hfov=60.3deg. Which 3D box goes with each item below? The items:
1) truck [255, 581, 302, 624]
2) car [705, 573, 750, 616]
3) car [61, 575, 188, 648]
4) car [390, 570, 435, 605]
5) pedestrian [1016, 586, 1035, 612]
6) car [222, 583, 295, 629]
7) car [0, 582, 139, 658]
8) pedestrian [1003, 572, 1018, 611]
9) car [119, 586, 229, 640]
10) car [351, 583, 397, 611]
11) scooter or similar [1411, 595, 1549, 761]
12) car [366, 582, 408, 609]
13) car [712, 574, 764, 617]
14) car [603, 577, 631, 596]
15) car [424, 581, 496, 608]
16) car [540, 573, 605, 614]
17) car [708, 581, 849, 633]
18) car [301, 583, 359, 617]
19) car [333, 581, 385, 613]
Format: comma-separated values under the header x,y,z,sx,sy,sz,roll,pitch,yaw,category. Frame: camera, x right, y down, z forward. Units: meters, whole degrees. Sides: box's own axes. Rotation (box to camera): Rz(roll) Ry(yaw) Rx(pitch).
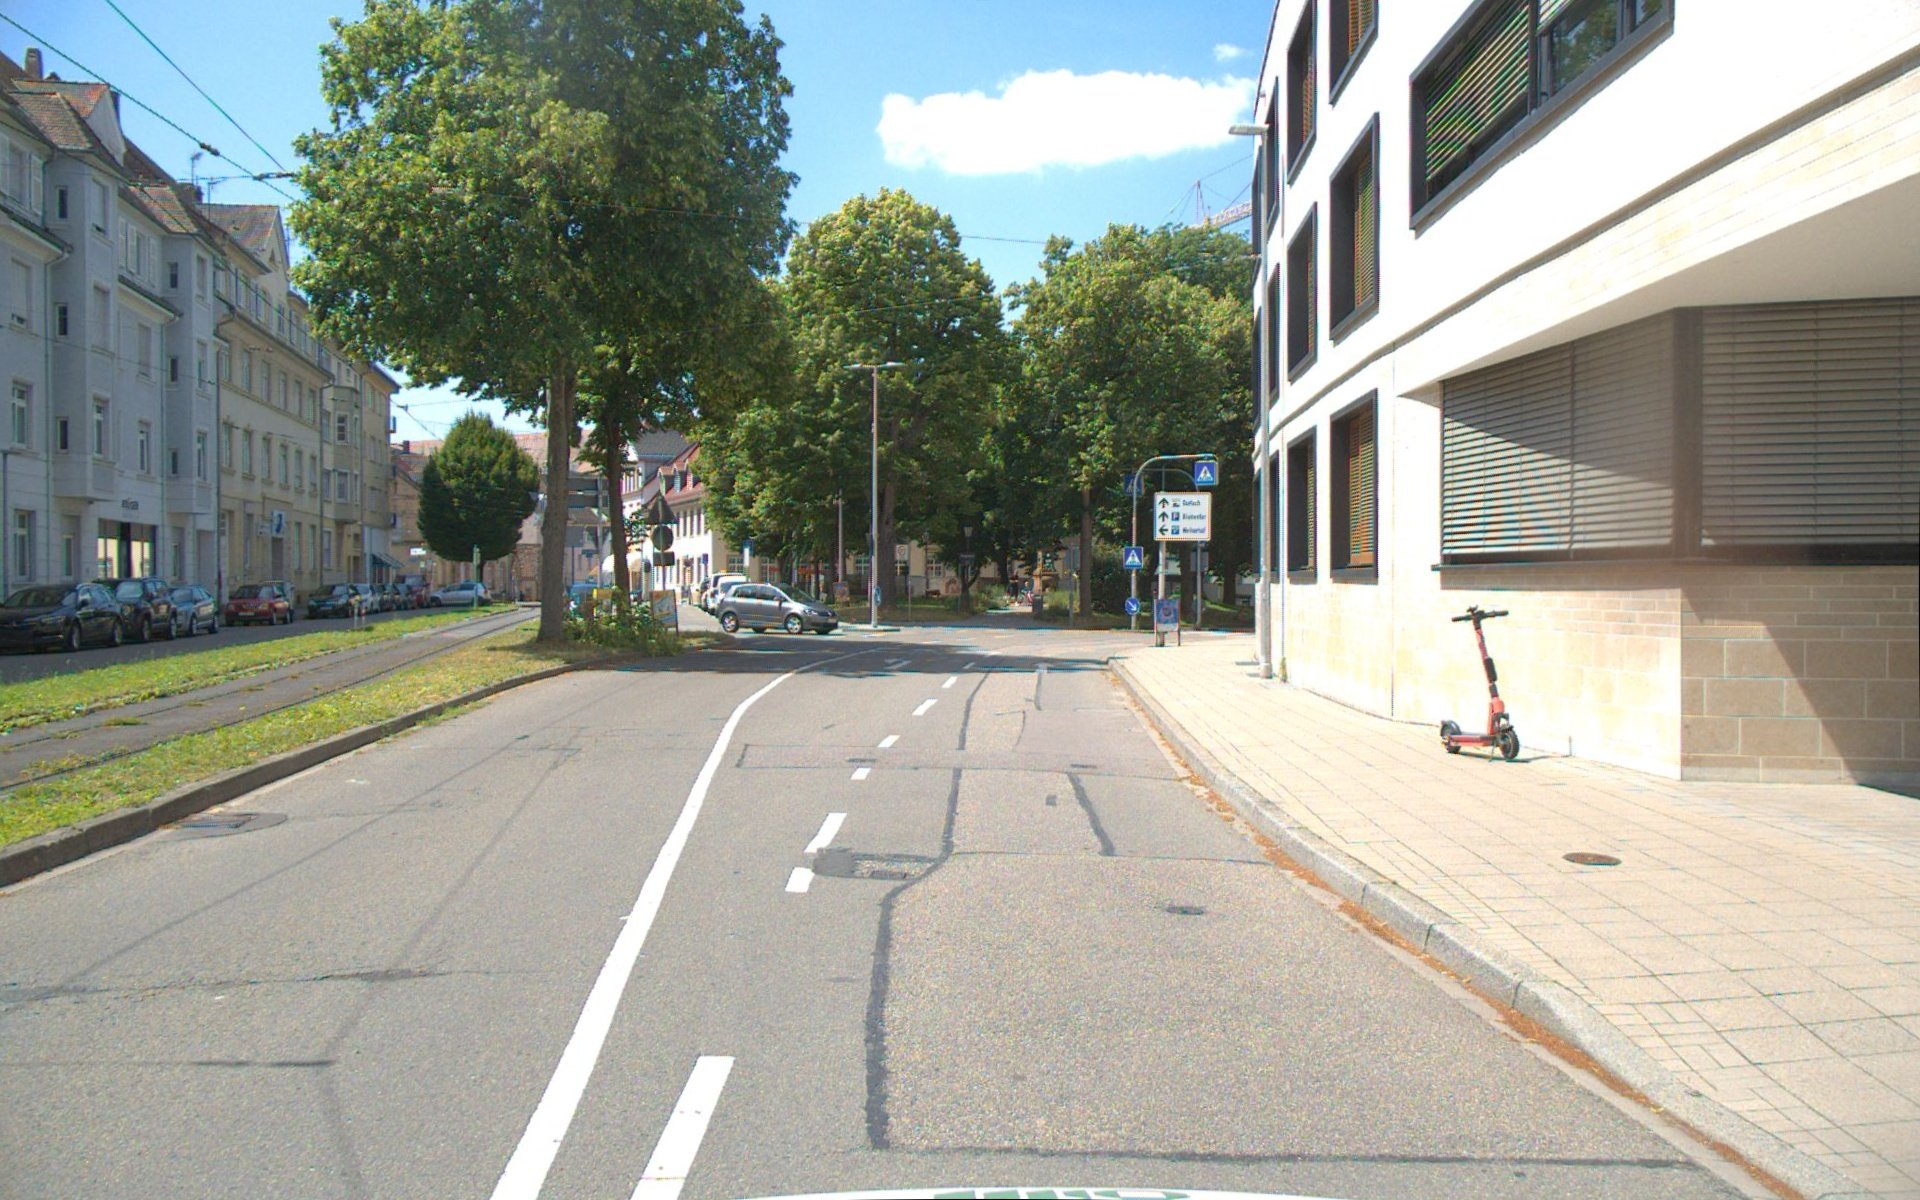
x,y,z,sx,sy,sz,roll,pitch,yaw,category
-25.200,0.081,61.200,1.106,1.520,2.586,-2,1,-12,truck
-11.485,-0.319,81.364,2.012,2.037,5.237,0,1,-10,car
-21.201,0.250,42.143,1.804,1.715,4.131,-2,1,-11,car
-31.699,-0.748,95.926,1.820,1.944,4.758,-2,1,-11,car
3.349,-0.074,84.290,0.887,1.273,1.149,1,2,4,pedestrian
-24.191,0.172,57.123,1.543,1.476,3.616,-2,1,-11,car
-19.984,0.392,36.673,1.893,1.516,4.850,-2,1,-11,car
2.600,-0.440,84.892,0.732,1.944,0.685,1,2,4,pedestrian
-22.140,0.333,46.761,1.775,1.380,4.238,-2,1,-11,car
-29.083,-0.185,82.151,1.656,1.300,3.280,-2,1,-11,car
4.308,0.614,13.786,0.570,1.282,1.366,-2,0,-6,scooter or similar
-30.001,-0.265,86.644,1.573,1.300,3.577,-2,1,-11,car
-9.838,-0.231,73.119,1.958,1.858,4.410,0,1,-12,car
-28.318,-1.093,136.464,1.831,1.512,3.980,0,1,-18,car
-30.837,-0.352,102.065,4.134,1.531,1.996,-2,1,-16,car
-15.222,-0.278,65.097,1.773,1.518,3.998,0,1,-3,car
-5.784,0.202,52.635,4.151,1.560,1.906,1,0,30,car
-27.335,-0.016,71.845,1.656,1.384,3.847,-2,1,-11,car
-28.080,-0.151,77.401,1.656,1.414,3.847,-2,1,-11,car
